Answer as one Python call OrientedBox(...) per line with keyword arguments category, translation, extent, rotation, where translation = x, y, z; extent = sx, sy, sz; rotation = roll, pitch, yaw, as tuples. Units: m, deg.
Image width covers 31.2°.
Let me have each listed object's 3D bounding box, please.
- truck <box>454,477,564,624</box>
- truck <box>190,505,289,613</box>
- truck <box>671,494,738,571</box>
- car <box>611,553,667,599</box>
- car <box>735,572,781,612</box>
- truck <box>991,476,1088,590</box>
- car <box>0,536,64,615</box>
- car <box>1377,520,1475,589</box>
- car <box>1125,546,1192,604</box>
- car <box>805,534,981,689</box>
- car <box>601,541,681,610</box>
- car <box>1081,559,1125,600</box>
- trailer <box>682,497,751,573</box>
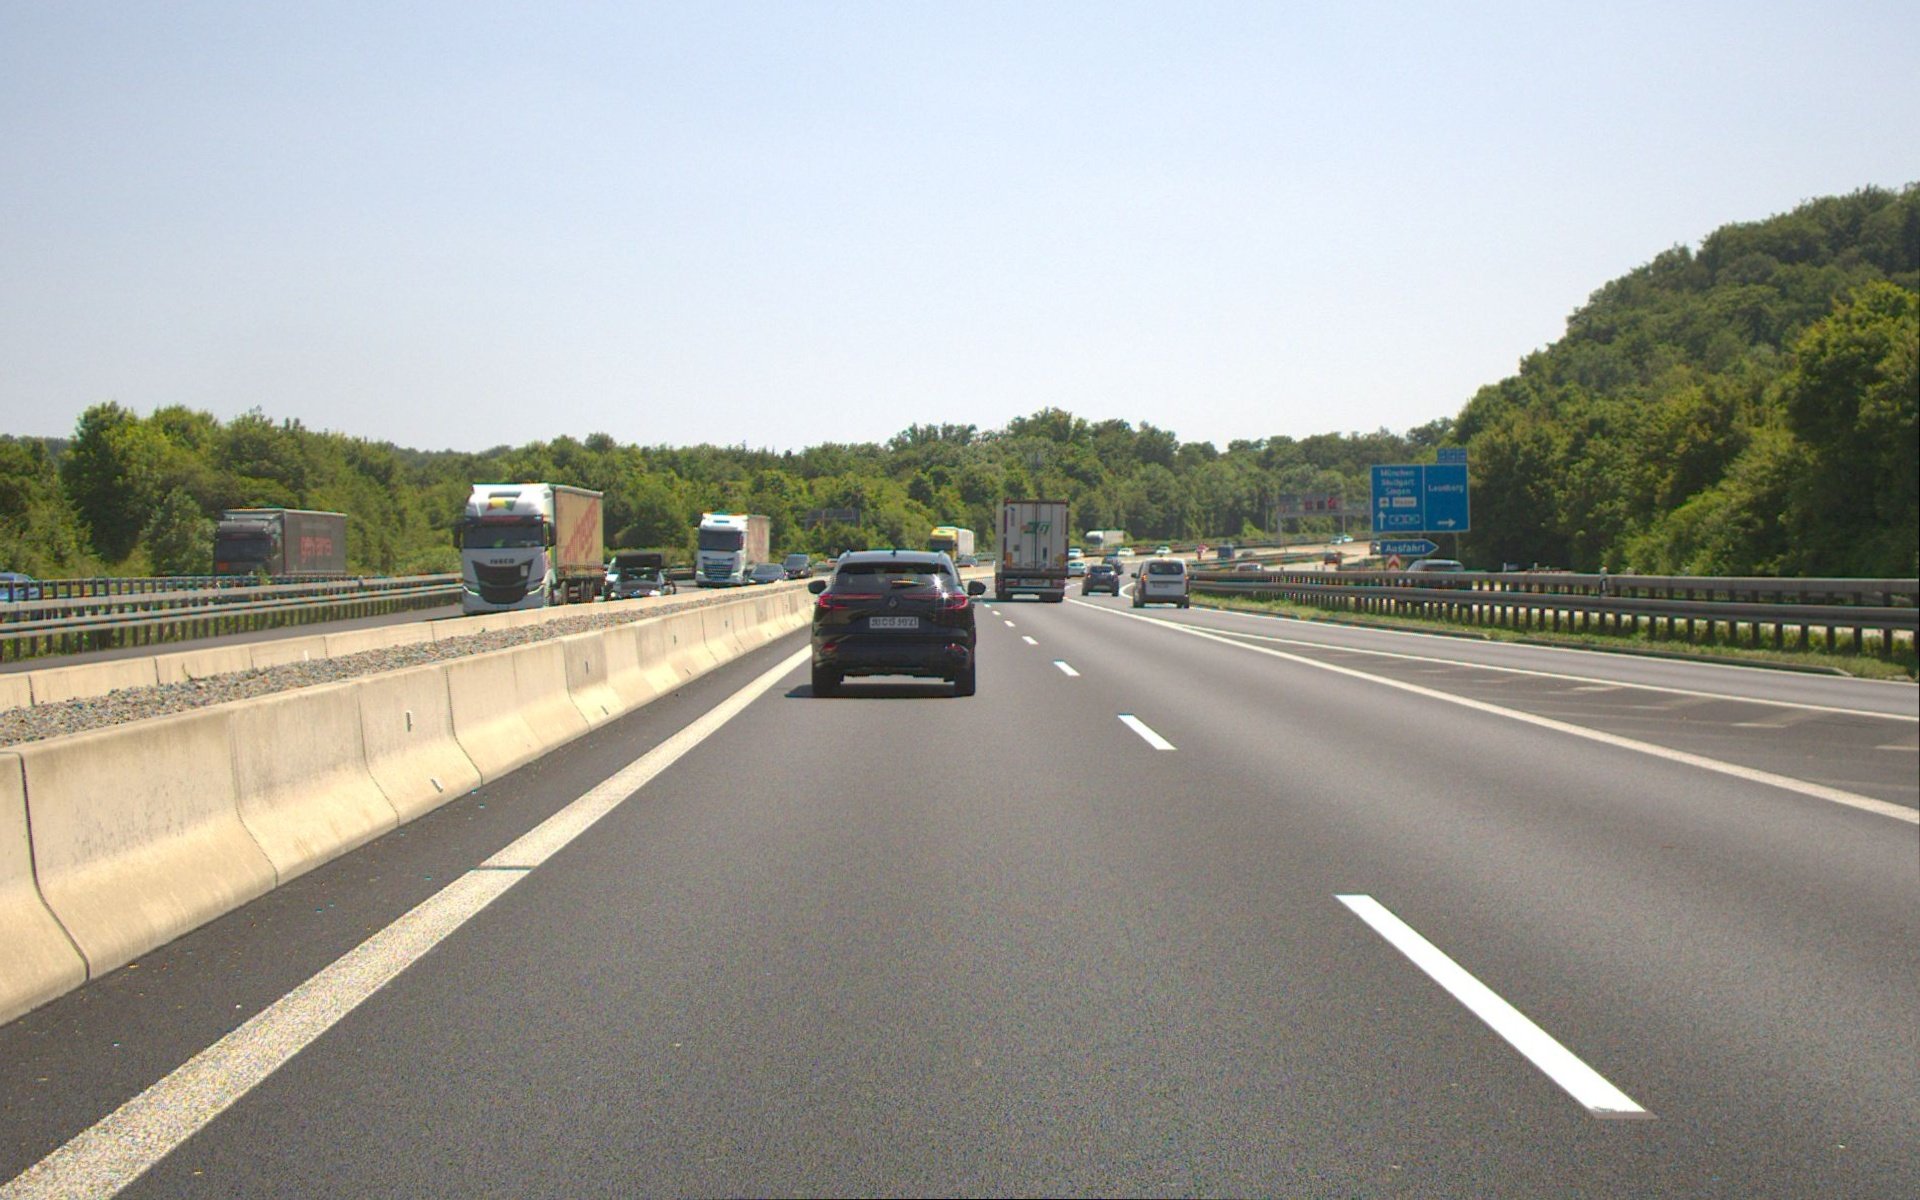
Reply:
OrientedBox(category="truck", translation=(-13.506, -1.472, 103.175), extent=(2.706, 4.273, 4.553), rotation=(1, 0, -1))
OrientedBox(category="truck", translation=(-29.395, -1.665, 140.398), extent=(2.810, 4.258, 4.998), rotation=(1, 0, 2))
OrientedBox(category="truck", translation=(-13.559, -3.551, 182.801), extent=(2.928, 3.959, 5.898), rotation=(1, 0, 1))
OrientedBox(category="car", translation=(-13.077, -0.962, 140.231), extent=(1.742, 1.820, 4.903), rotation=(1, 0, 1))
OrientedBox(category="car", translation=(-9.466, -0.396, 161.664), extent=(1.983, 1.820, 4.827), rotation=(1, 0, -2))
OrientedBox(category="truck", translation=(3.322, -2.626, 139.644), extent=(3.032, 4.403, 12.016), rotation=(1, 0, 5))
OrientedBox(category="car", translation=(-24.743, -0.647, 89.436), extent=(1.993, 2.007, 4.000), rotation=(1, 0, -3))
OrientedBox(category="car", translation=(14.373, -1.392, 106.244), extent=(1.993, 2.007, 4.001), rotation=(-2, 1, -7))
OrientedBox(category="car", translation=(7.109, -0.907, 123.512), extent=(1.993, 2.007, 4.000), rotation=(-2, 1, -2))
OrientedBox(category="car", translation=(-0.809, 0.115, 38.918), extent=(1.779, 1.572, 4.000), rotation=(3, 0, -3))
OrientedBox(category="car", translation=(-9.536, -0.754, 103.102), extent=(1.918, 2.007, 5.347), rotation=(-1, 1, 0))
OrientedBox(category="car", translation=(7.282, -1.052, 175.433), extent=(1.993, 2.007, 4.000), rotation=(1, 0, 0))
OrientedBox(category="trailer", translation=(-13.491, -3.548, 191.247), extent=(2.910, 4.031, 12.063), rotation=(1, 0, 0))
